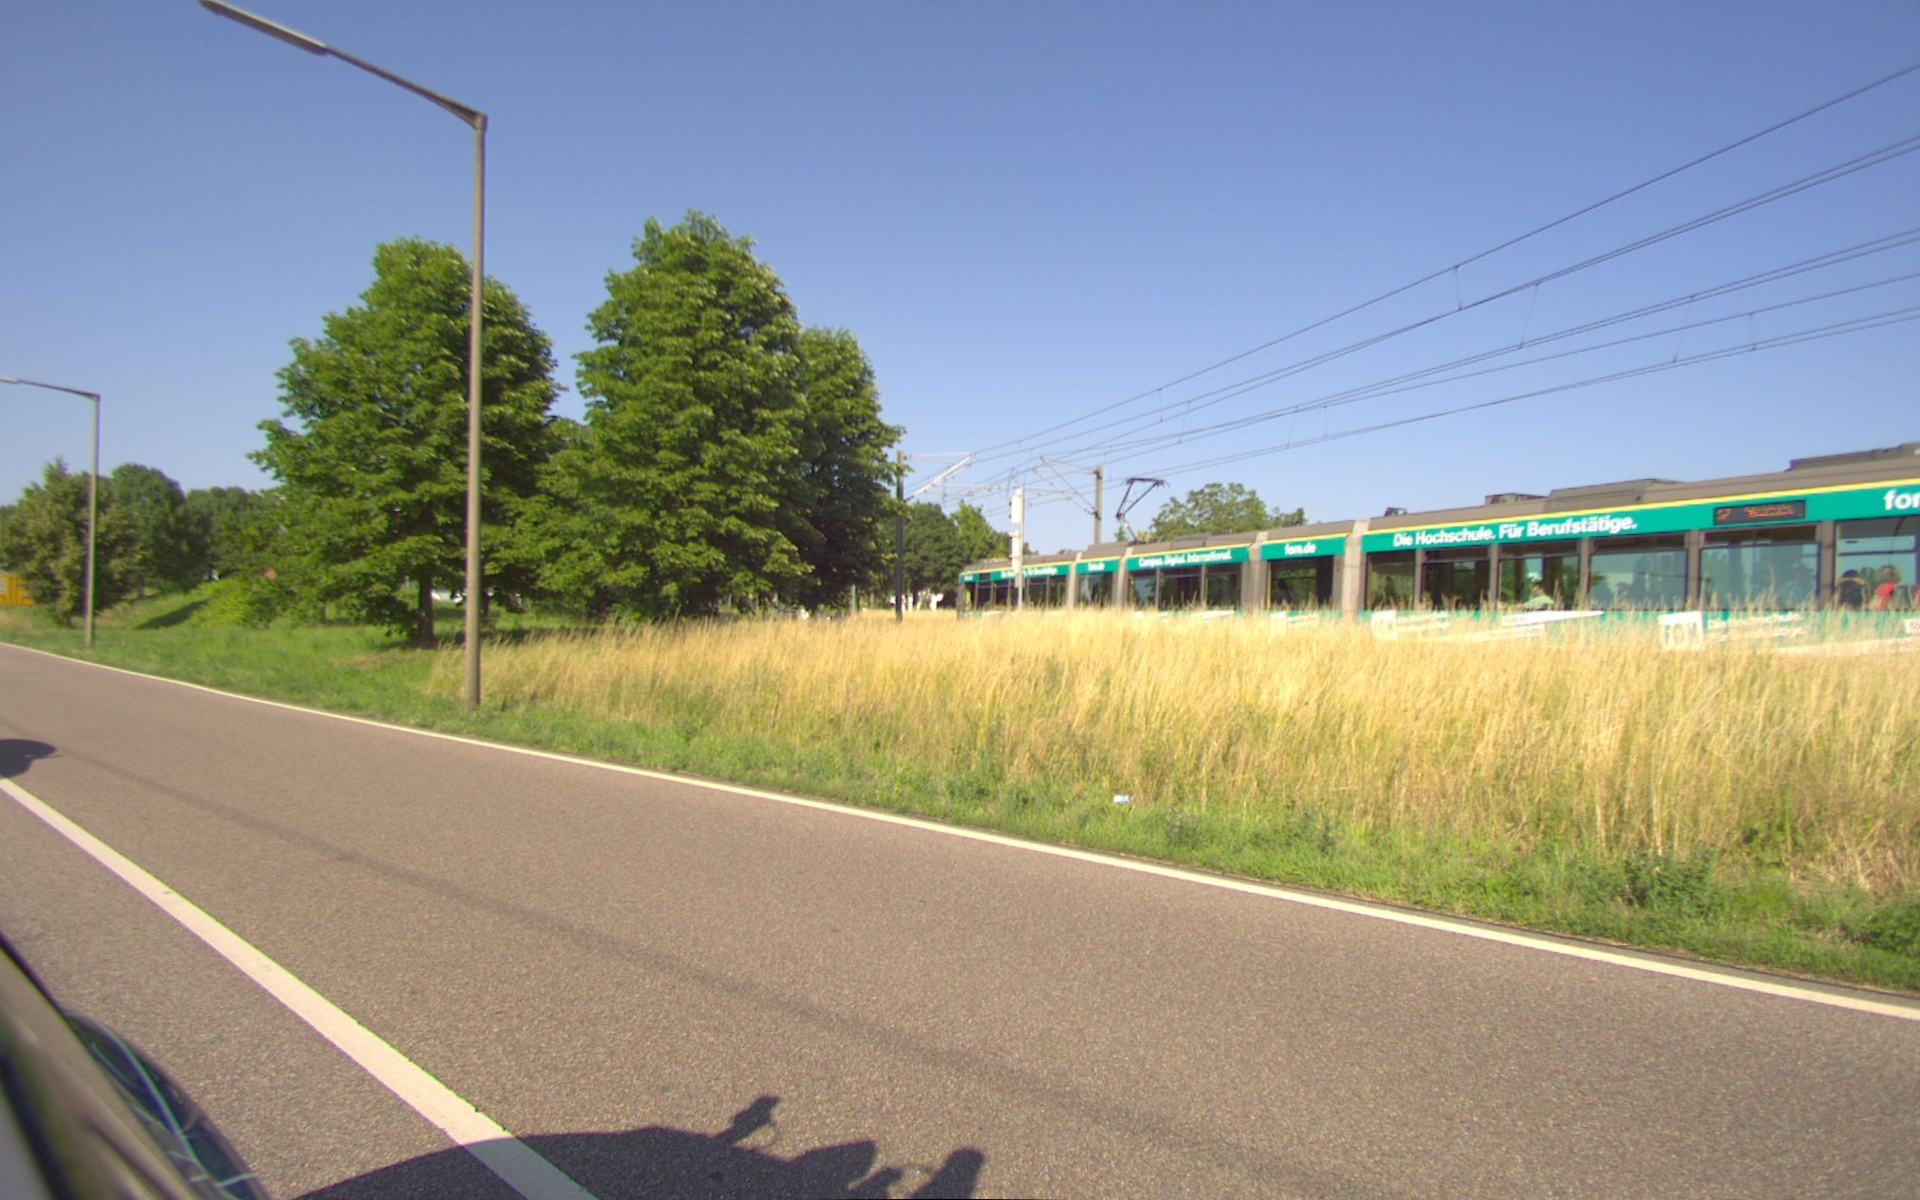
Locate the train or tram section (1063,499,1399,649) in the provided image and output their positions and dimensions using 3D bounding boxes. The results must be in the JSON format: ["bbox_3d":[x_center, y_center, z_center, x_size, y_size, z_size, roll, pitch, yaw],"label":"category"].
[{"bbox_3d":[7.087,-0.649,29.658,2.876,3.480,12.206,0,1,-21],"label":"train or tram section"}]

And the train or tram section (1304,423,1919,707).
[{"bbox_3d":[11.937,-0.541,17.265,2.865,3.595,14.309,0,1,-22],"label":"train or tram section"}]

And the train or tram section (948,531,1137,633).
[{"bbox_3d":[2.855,-0.618,41.118,2.909,3.511,12.204,0,0,-19],"label":"train or tram section"}]
